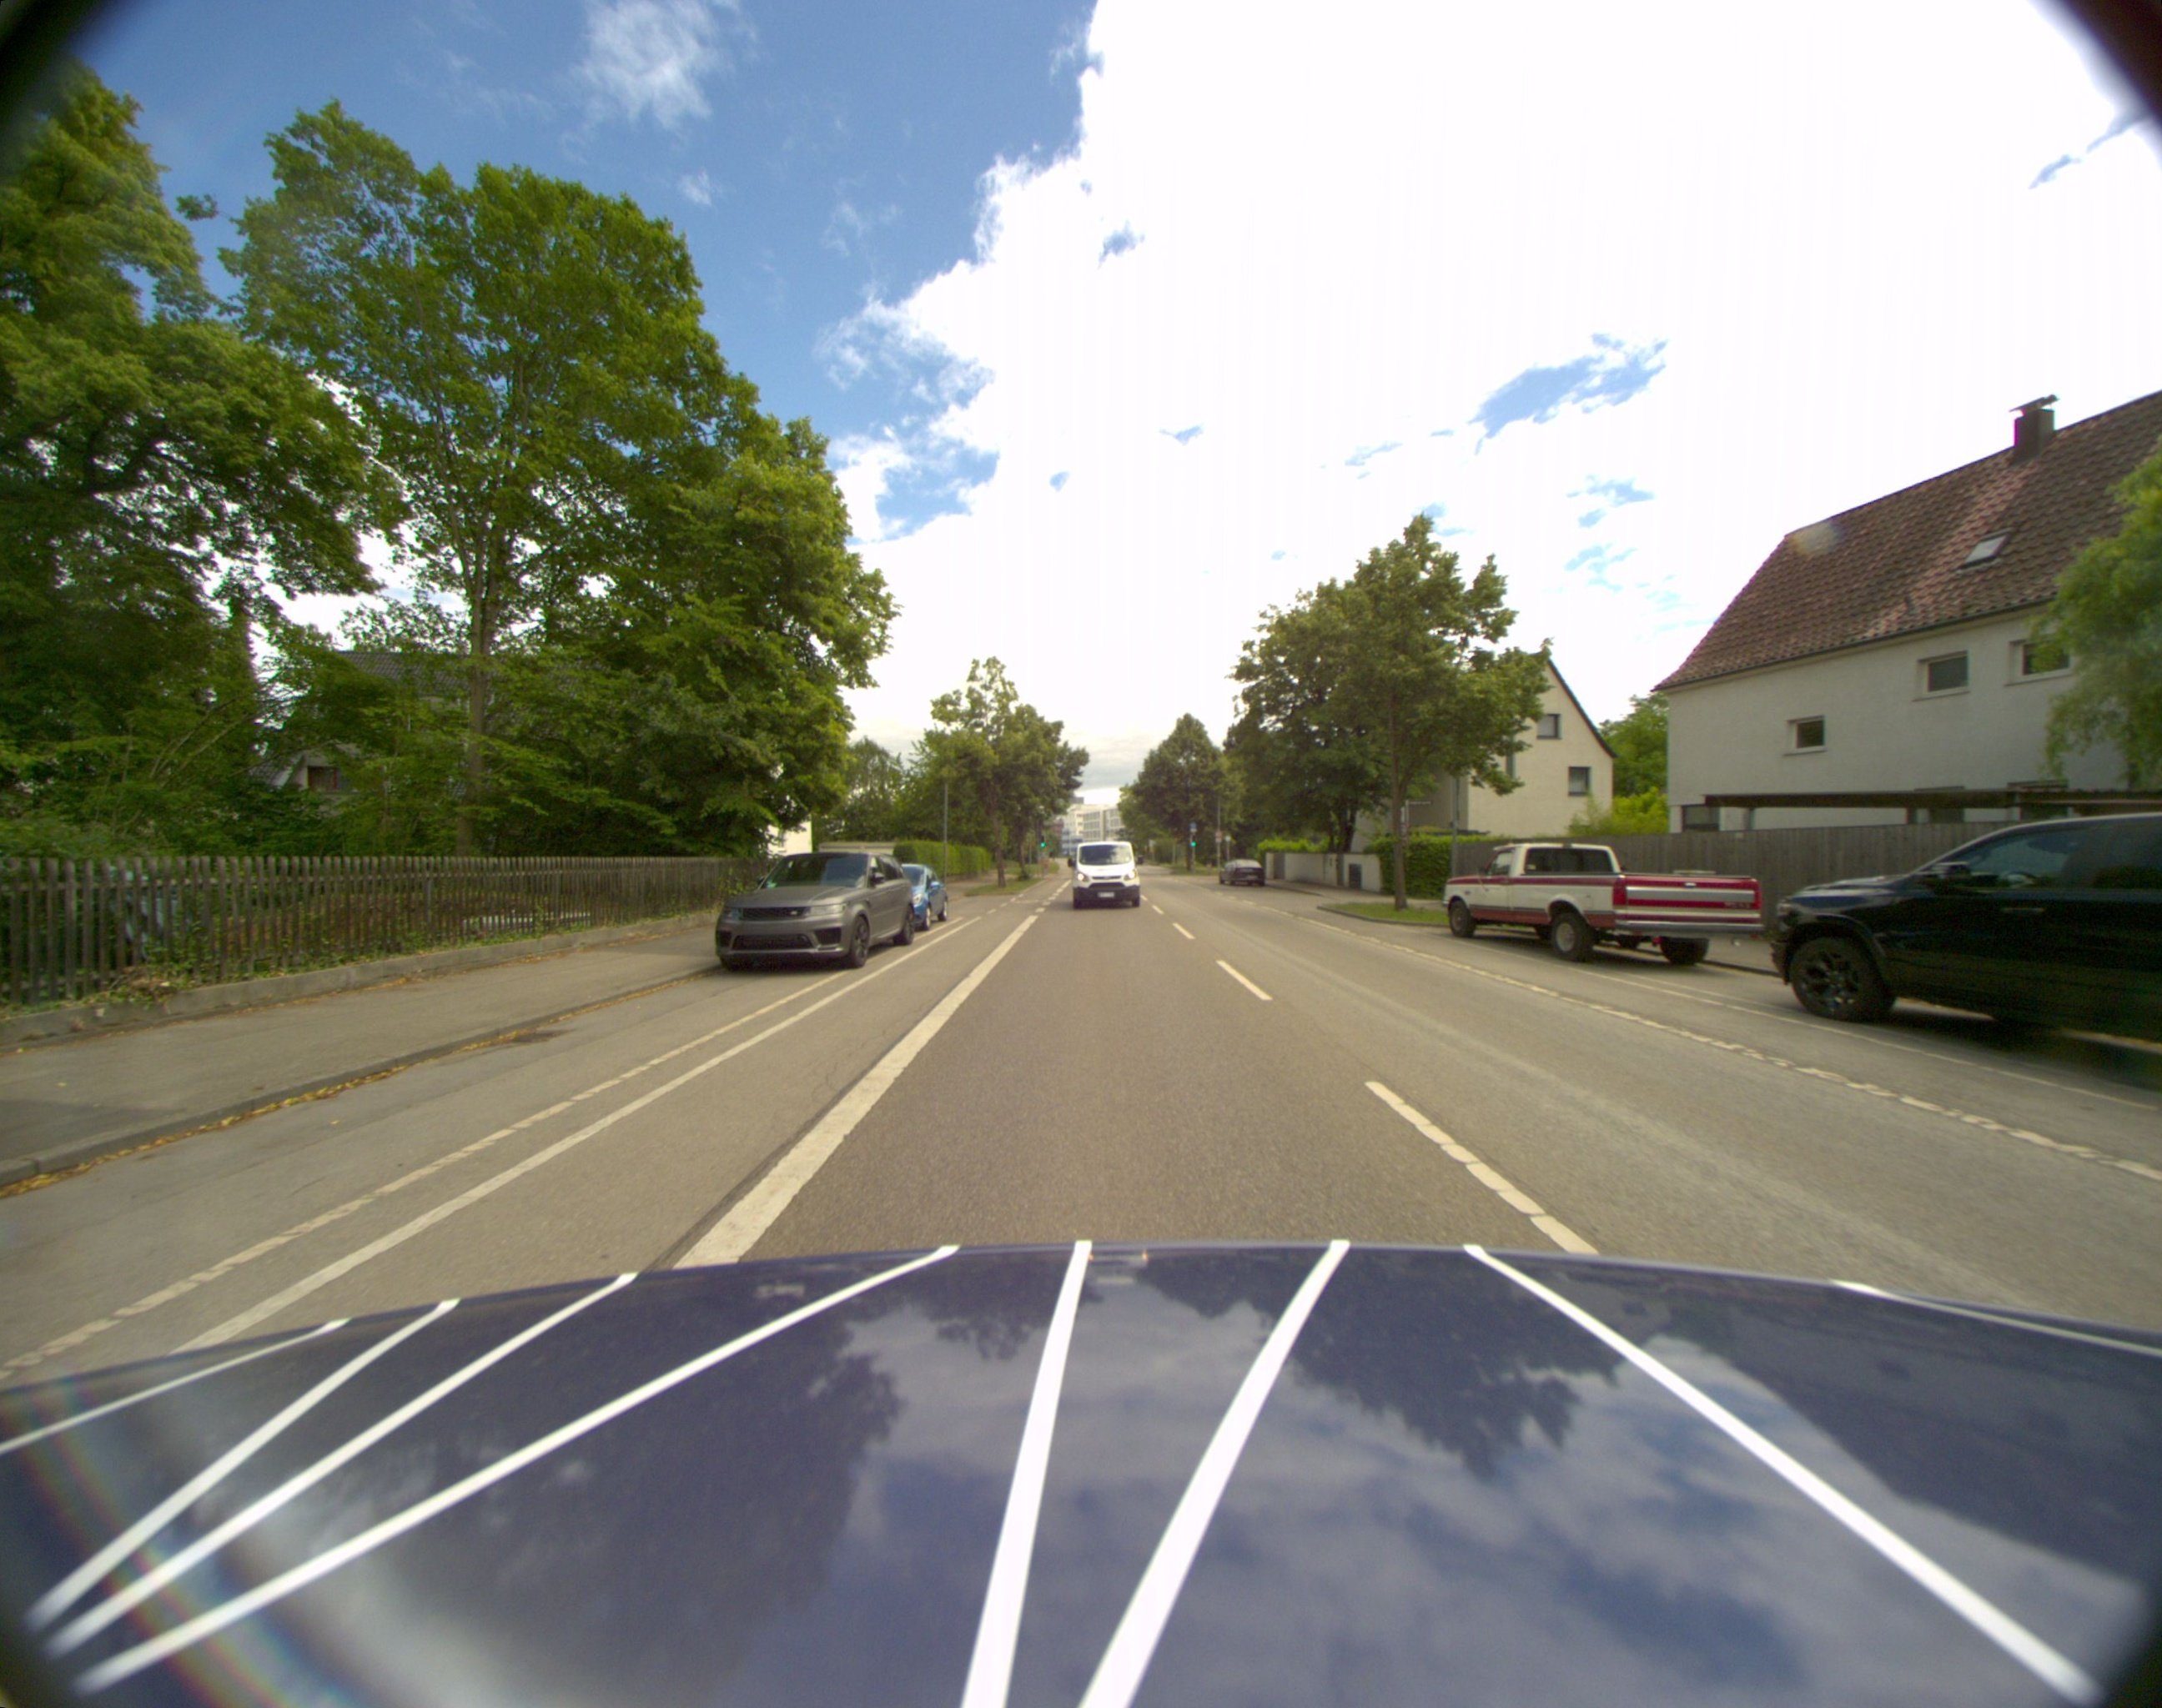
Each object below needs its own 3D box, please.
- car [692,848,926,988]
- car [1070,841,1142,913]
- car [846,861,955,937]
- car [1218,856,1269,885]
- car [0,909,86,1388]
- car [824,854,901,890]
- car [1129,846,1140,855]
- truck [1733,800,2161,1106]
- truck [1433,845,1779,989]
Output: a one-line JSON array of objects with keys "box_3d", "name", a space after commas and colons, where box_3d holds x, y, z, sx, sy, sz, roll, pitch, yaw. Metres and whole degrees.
[{"box_3d": [-4.106, 0.836, 12.525, 1.998, 1.805, 4.827, -1, 1, 1], "name": "car"}, {"box_3d": [0.763, 0.624, 24.199, 1.998, 2.002, 5.188, -2, 1, 1], "name": "car"}, {"box_3d": [-4.117, 0.971, 17.950, 1.689, 1.493, 3.920, -1, 1, -1], "name": "car"}, {"box_3d": [8.787, 0.873, 41.420, 1.750, 1.400, 4.927, 1, 0, 0], "name": "car"}, {"box_3d": [-4.507, 1.007, 0.510, 1.867, 1.580, 4.421, -1, 0, -1], "name": "car"}, {"box_3d": [-9.968, 0.793, 34.828, 1.647, 1.559, 3.225, 0, 0, 25], "name": "car"}, {"box_3d": [9.826, -0.612, 140.054, 1.786, 1.622, 4.000, 0, 0, 1], "name": "car"}, {"box_3d": [8.373, 0.652, 5.349, 2.429, 2.031, 5.994, 0, 0, 0], "name": "truck"}, {"box_3d": [8.248, 0.813, 12.884, 1.972, 1.857, 5.664, 2, 0, 1], "name": "truck"}]
